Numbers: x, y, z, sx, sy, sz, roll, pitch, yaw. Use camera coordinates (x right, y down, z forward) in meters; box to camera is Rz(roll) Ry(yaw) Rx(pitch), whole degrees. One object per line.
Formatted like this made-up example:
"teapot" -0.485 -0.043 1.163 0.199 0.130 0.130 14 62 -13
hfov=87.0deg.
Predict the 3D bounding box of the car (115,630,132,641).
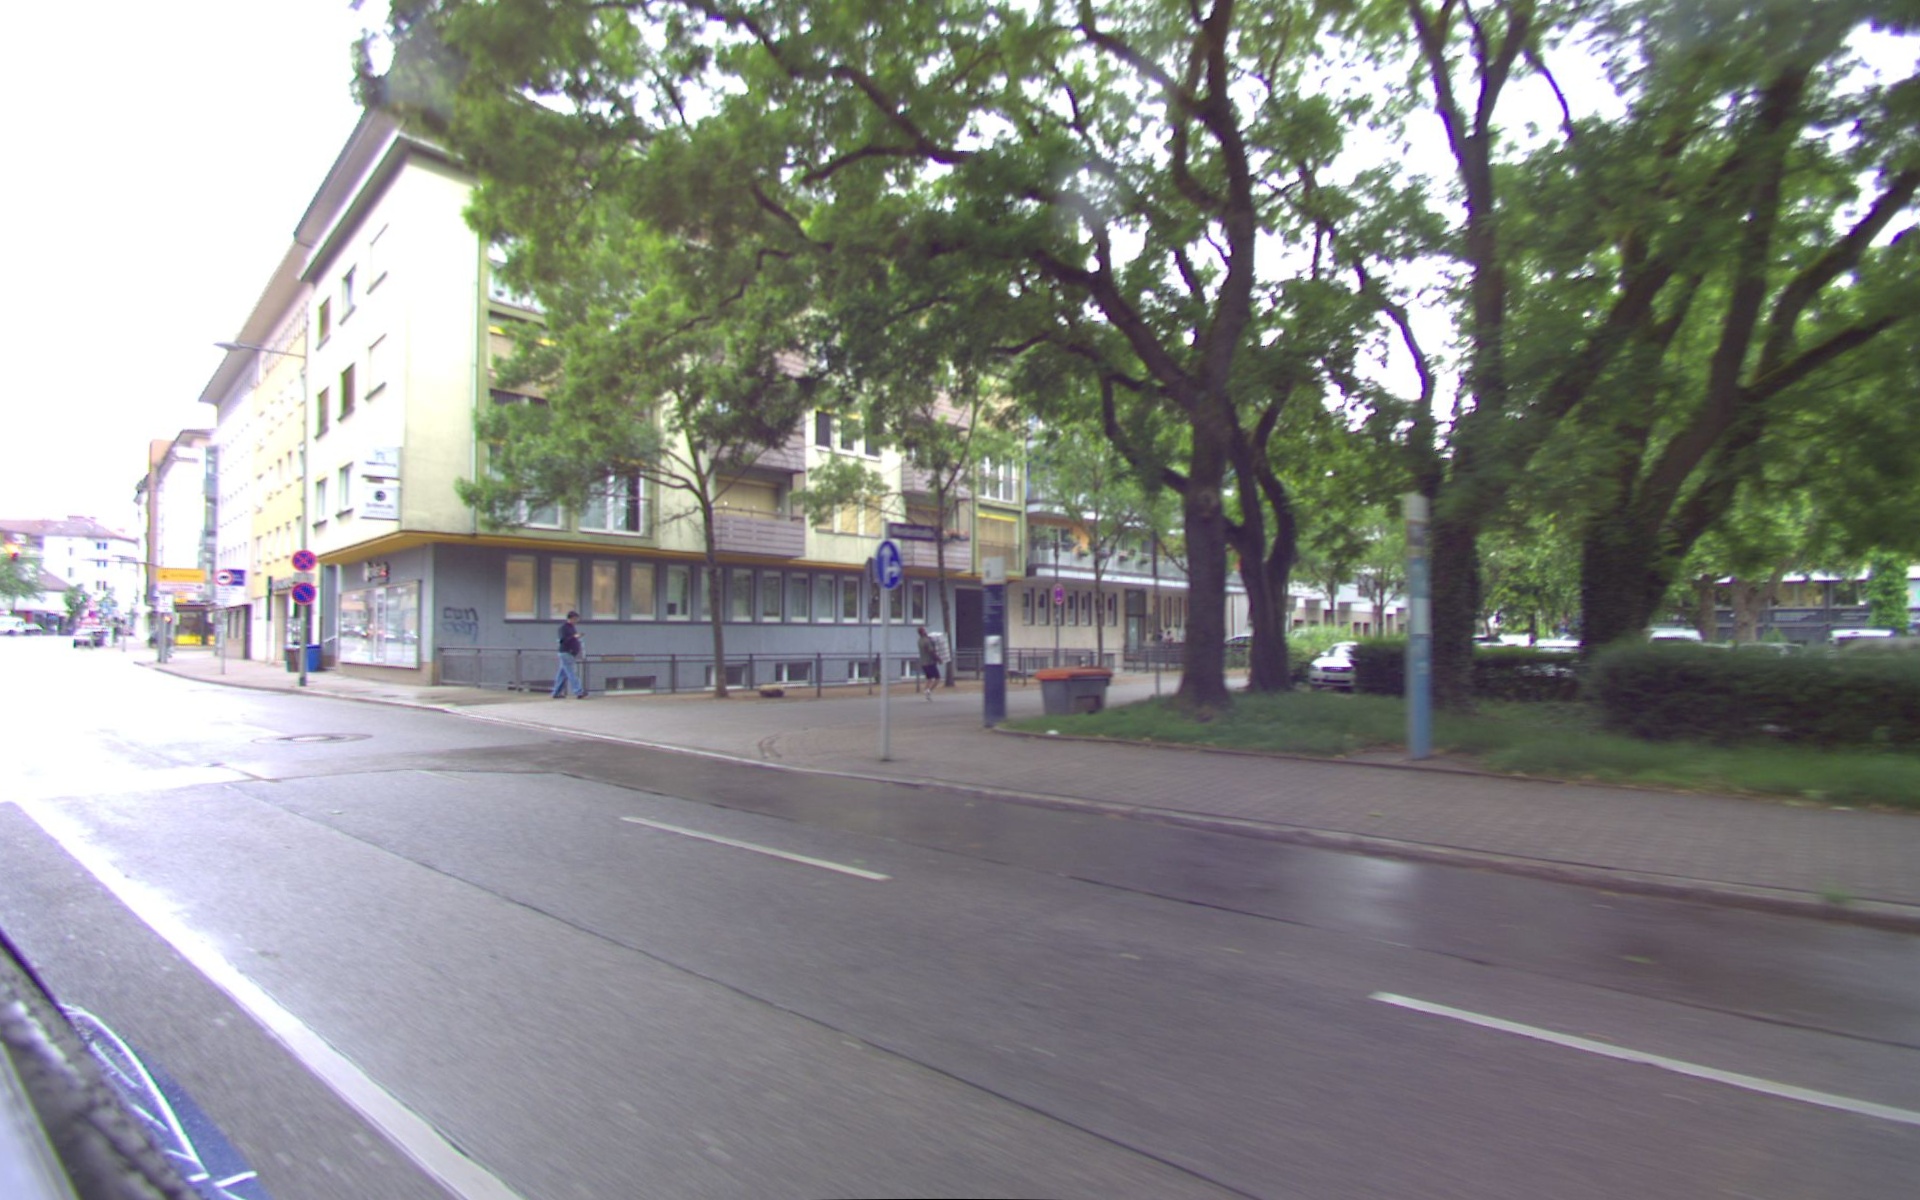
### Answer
"car" -120.193 5.078 145.408 1.567 1.539 3.496 2 -3 -36

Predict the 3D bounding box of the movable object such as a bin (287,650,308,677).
"movable object such as a bin" -23.592 2.244 36.021 0.522 0.902 0.435 -3 1 -42

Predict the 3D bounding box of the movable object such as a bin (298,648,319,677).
"movable object such as a bin" -23.039 2.195 35.790 0.522 0.968 0.435 -3 1 -42

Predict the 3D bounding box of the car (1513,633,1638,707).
"car" 15.024 1.630 24.617 1.863 1.638 3.995 -2 -3 42

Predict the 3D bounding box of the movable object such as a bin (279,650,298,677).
"movable object such as a bin" -24.319 2.302 36.649 0.458 0.935 0.429 -3 1 -42

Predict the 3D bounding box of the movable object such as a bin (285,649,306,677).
"movable object such as a bin" -23.890 2.253 36.367 0.521 0.935 0.426 -3 1 -42

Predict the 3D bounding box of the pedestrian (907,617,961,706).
"pedestrian" -0.592 1.355 22.699 0.906 1.939 0.820 2 -3 -43

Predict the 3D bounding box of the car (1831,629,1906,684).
"car" 32.299 1.991 36.064 1.802 1.838 3.946 -2 -3 40

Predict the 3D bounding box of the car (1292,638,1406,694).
"car" 10.916 1.788 28.315 1.863 1.475 3.592 -2 -3 41

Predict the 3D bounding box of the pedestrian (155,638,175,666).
"pedestrian" -46.052 3.019 58.643 0.773 1.600 0.675 -1 -1 -29

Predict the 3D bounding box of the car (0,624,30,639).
"car" -113.417 3.767 120.679 1.984 1.778 4.777 2 -3 -21

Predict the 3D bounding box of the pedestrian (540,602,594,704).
"pedestrian" -8.046 1.069 20.716 0.781 2.029 0.742 -2 -3 41

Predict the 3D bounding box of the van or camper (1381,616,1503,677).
"van or camper" 21.006 1.980 43.819 2.561 2.420 8.535 -2 -3 41

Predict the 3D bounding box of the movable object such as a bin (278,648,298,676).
"movable object such as a bin" -24.746 2.274 37.264 0.510 1.008 0.524 -3 1 -42

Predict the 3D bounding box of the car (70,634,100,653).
"car" -75.256 3.737 87.042 1.807 1.634 4.007 2 -3 -39
